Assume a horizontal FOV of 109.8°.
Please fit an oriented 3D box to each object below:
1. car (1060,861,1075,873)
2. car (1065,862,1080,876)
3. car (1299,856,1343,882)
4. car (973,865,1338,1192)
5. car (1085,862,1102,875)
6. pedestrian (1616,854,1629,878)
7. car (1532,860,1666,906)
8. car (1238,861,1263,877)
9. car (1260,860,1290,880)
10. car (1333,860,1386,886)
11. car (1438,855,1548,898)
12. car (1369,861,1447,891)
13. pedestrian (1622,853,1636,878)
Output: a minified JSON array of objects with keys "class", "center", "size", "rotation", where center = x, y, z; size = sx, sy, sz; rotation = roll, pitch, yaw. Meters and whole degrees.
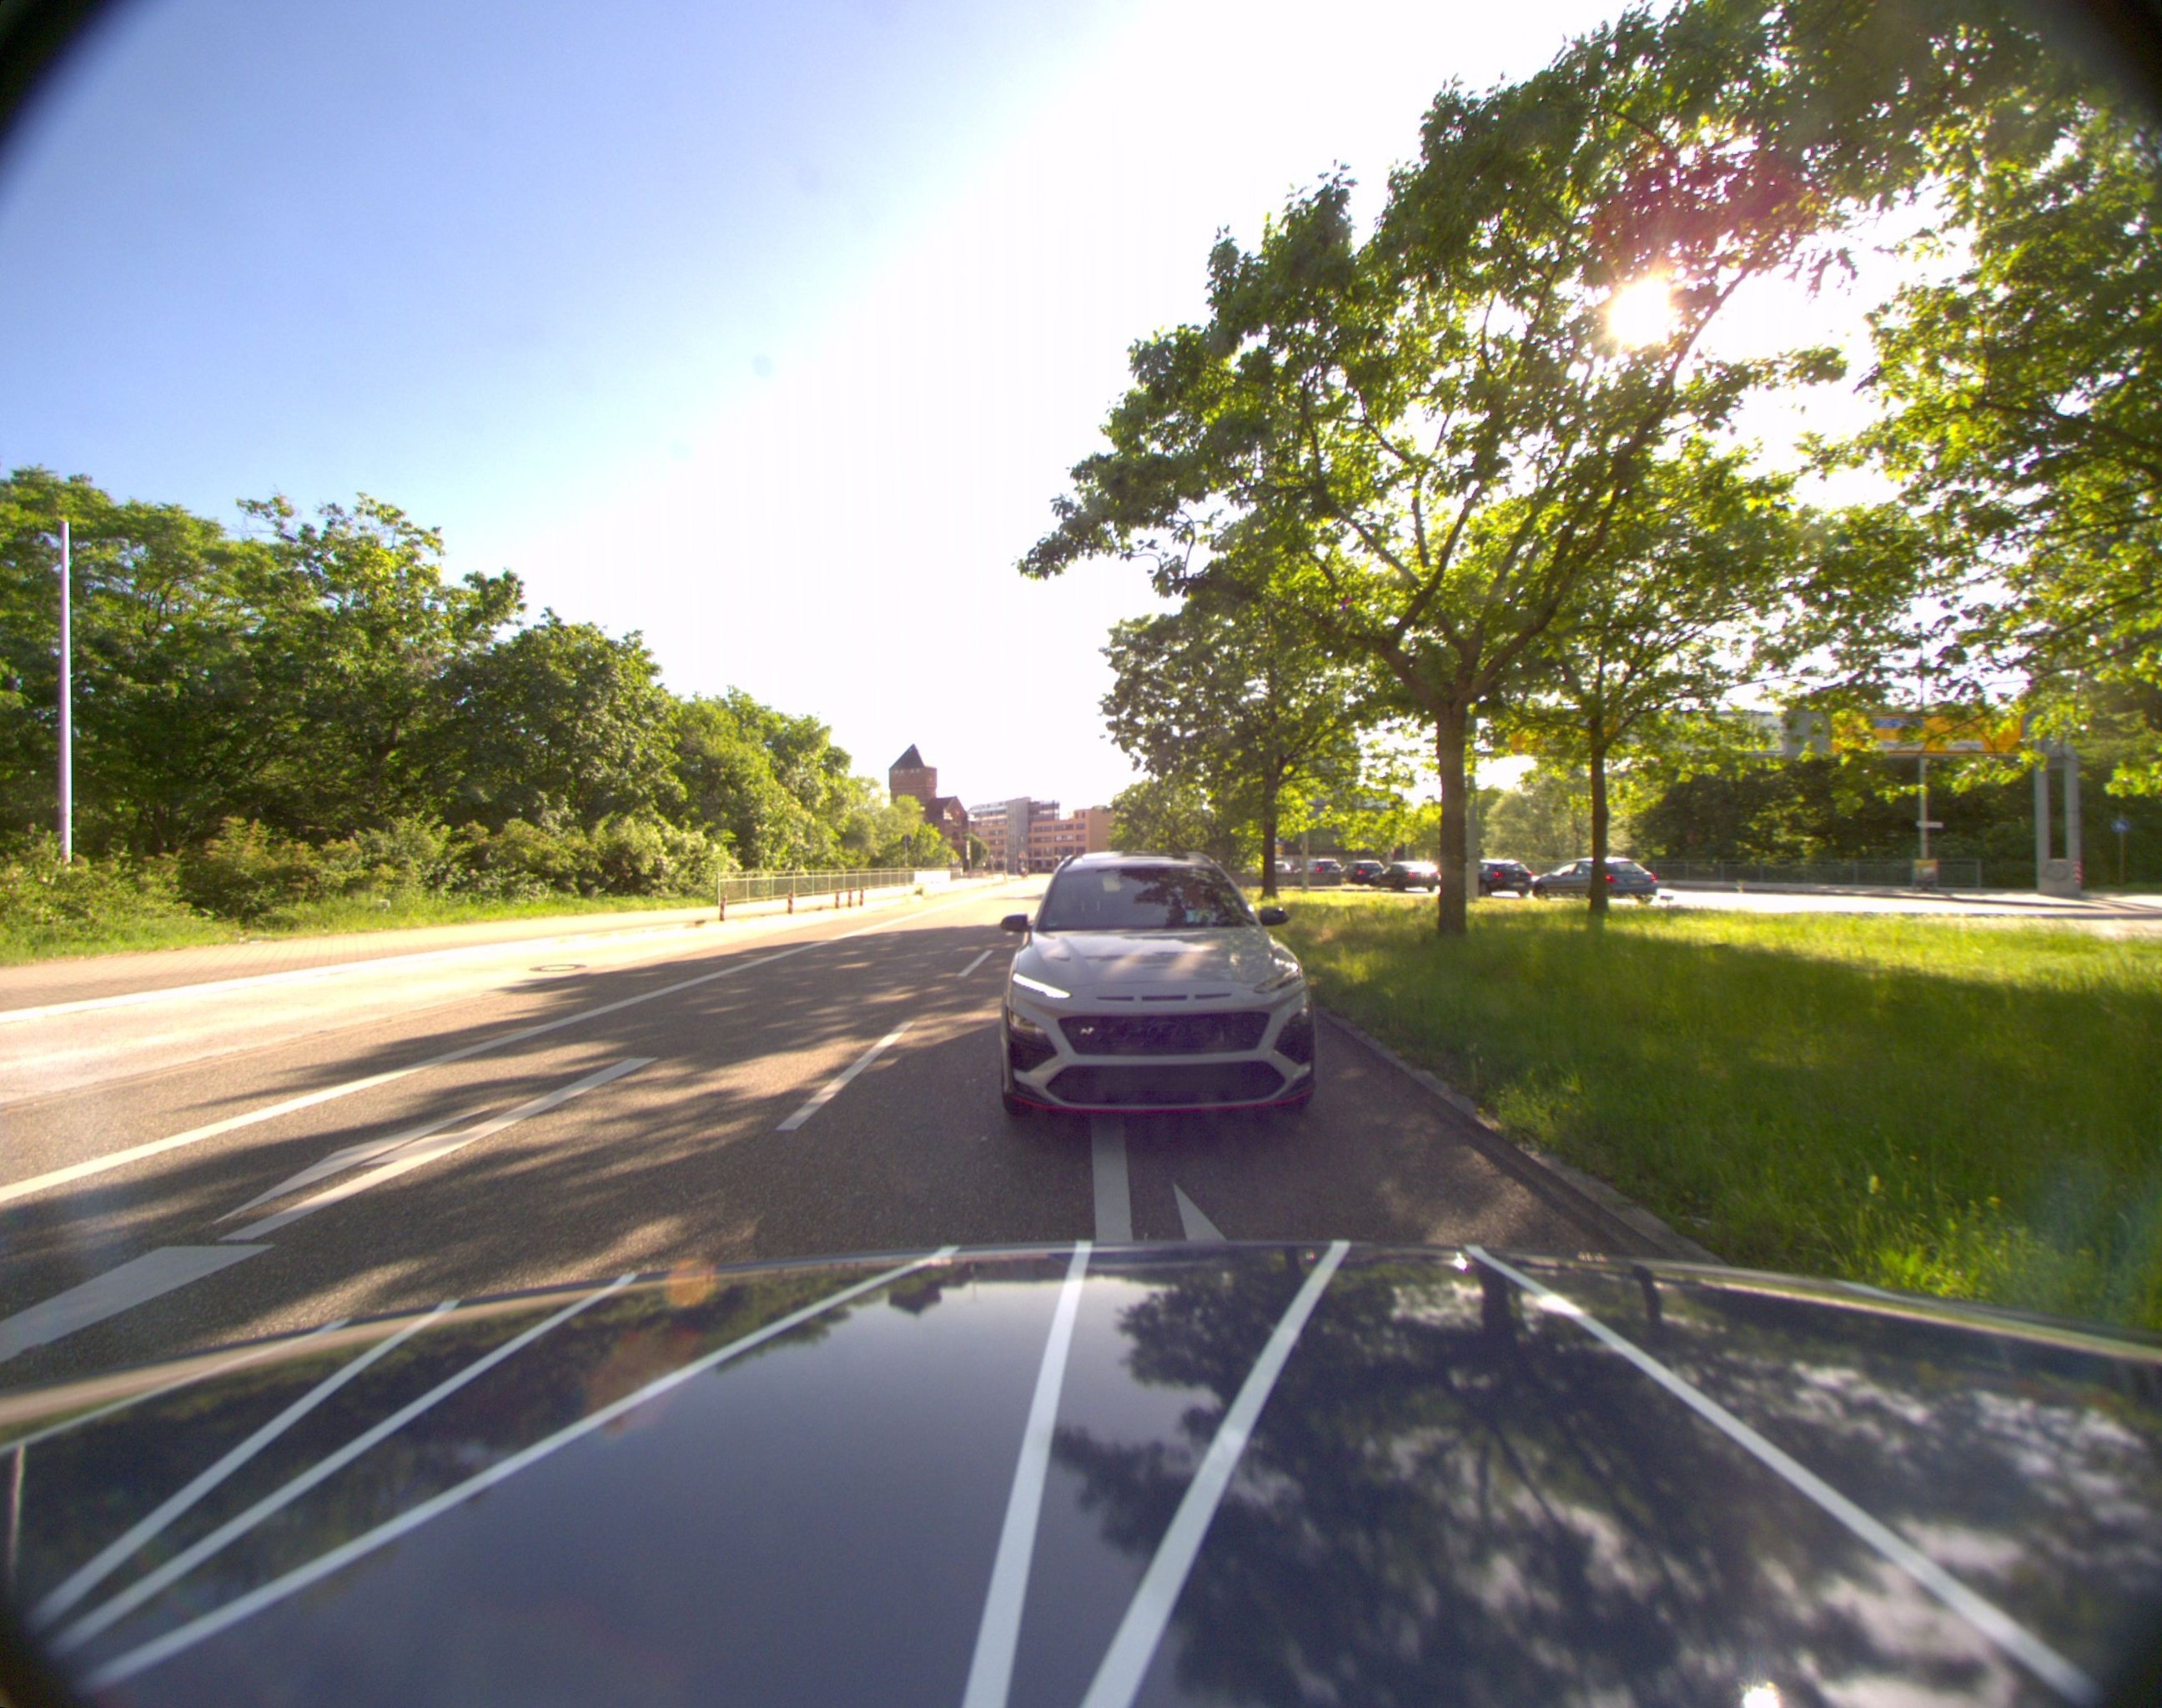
[{"class":"car","center":[-1.649,1.629,95.040],"size":[1.677,1.463,4.151],"rotation":[-1,0,1]},{"class":"car","center":[-1.254,2.124,109.891],"size":[1.959,2.002,4.000],"rotation":[-1,0,2]},{"class":"car","center":[14.970,0.988,47.533],"size":[1.450,1.549,3.202],"rotation":[-1,-2,-6]},{"class":"car","center":[0.387,0.881,5.689],"size":[1.752,1.523,3.988],"rotation":[-1,0,1]},{"class":"car","center":[1.516,1.644,88.678],"size":[1.892,1.420,4.387],"rotation":[-1,0,1]},{"class":"pedestrian","center":[33.313,0.720,46.744],"size":[0.421,1.490,0.545],"rotation":[-1,0,-7]},{"class":"car","center":[16.389,0.879,24.245],"size":[1.561,1.355,3.608],"rotation":[-1,-1,-6]},{"class":"car","center":[13.929,1.278,62.461],"size":[1.199,1.252,2.768],"rotation":[-1,-2,-6]},{"class":"car","center":[14.314,1.207,56.187],"size":[1.228,1.331,2.882],"rotation":[-1,-3,-6]},{"class":"car","center":[15.150,1.030,41.480],"size":[1.481,1.331,3.202],"rotation":[-1,-1,-6]},{"class":"car","center":[16.186,0.843,30.151],"size":[1.875,1.541,4.221],"rotation":[-1,0,-4]},{"class":"car","center":[15.474,0.995,36.224],"size":[1.623,1.305,4.066],"rotation":[-1,0,-6]},{"class":"pedestrian","center":[33.752,0.699,46.819],"size":[0.421,1.490,0.545],"rotation":[-1,0,-7]}]
